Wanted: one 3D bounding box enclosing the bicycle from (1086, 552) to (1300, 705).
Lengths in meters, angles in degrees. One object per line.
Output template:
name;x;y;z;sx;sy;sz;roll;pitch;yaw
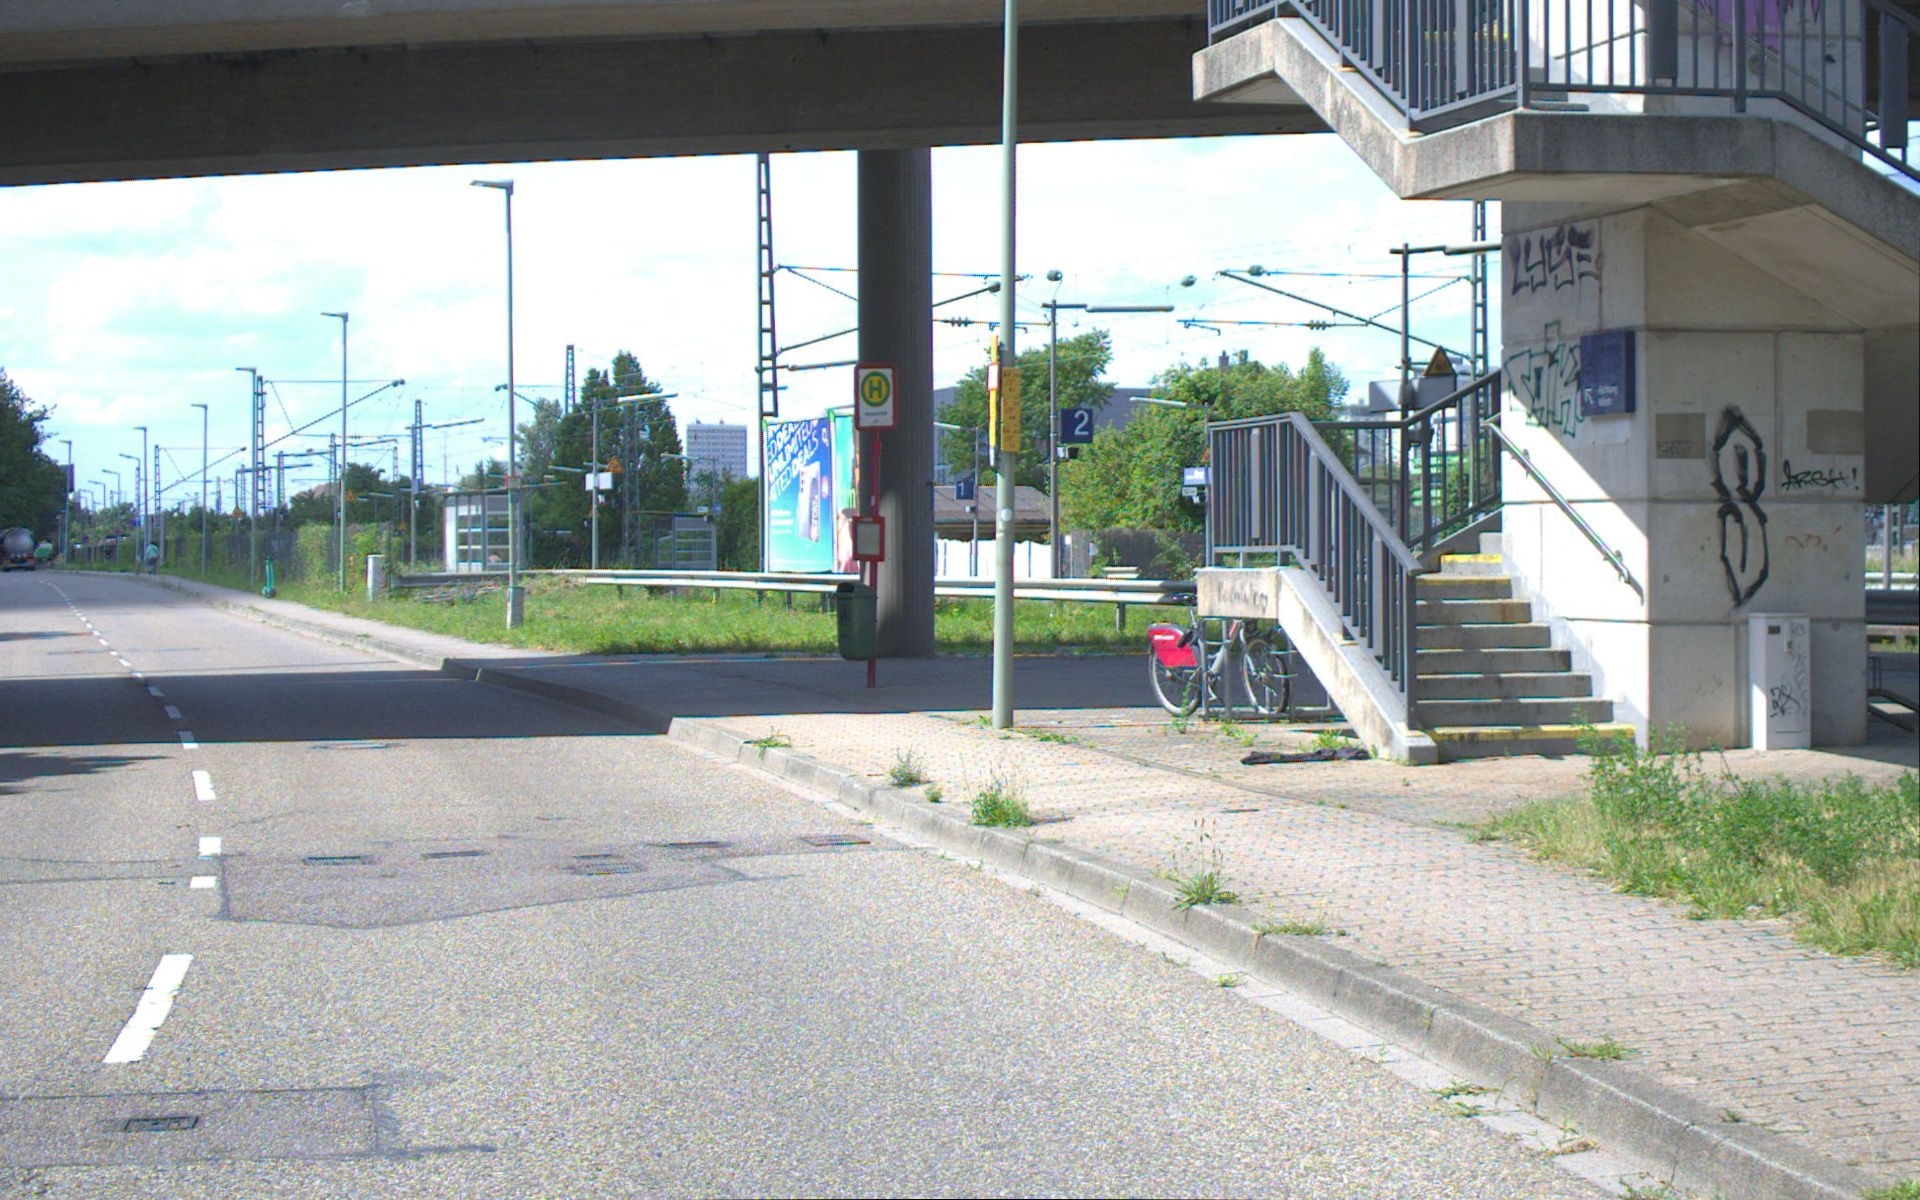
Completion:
bicycle;1.735;0.189;25.964;0.642;1.104;2.192;-1;1;-24

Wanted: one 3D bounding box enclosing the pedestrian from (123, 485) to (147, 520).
pedestrian;-49.241;-5.812;205.208;0.850;2.007;1.058;3;1;35
